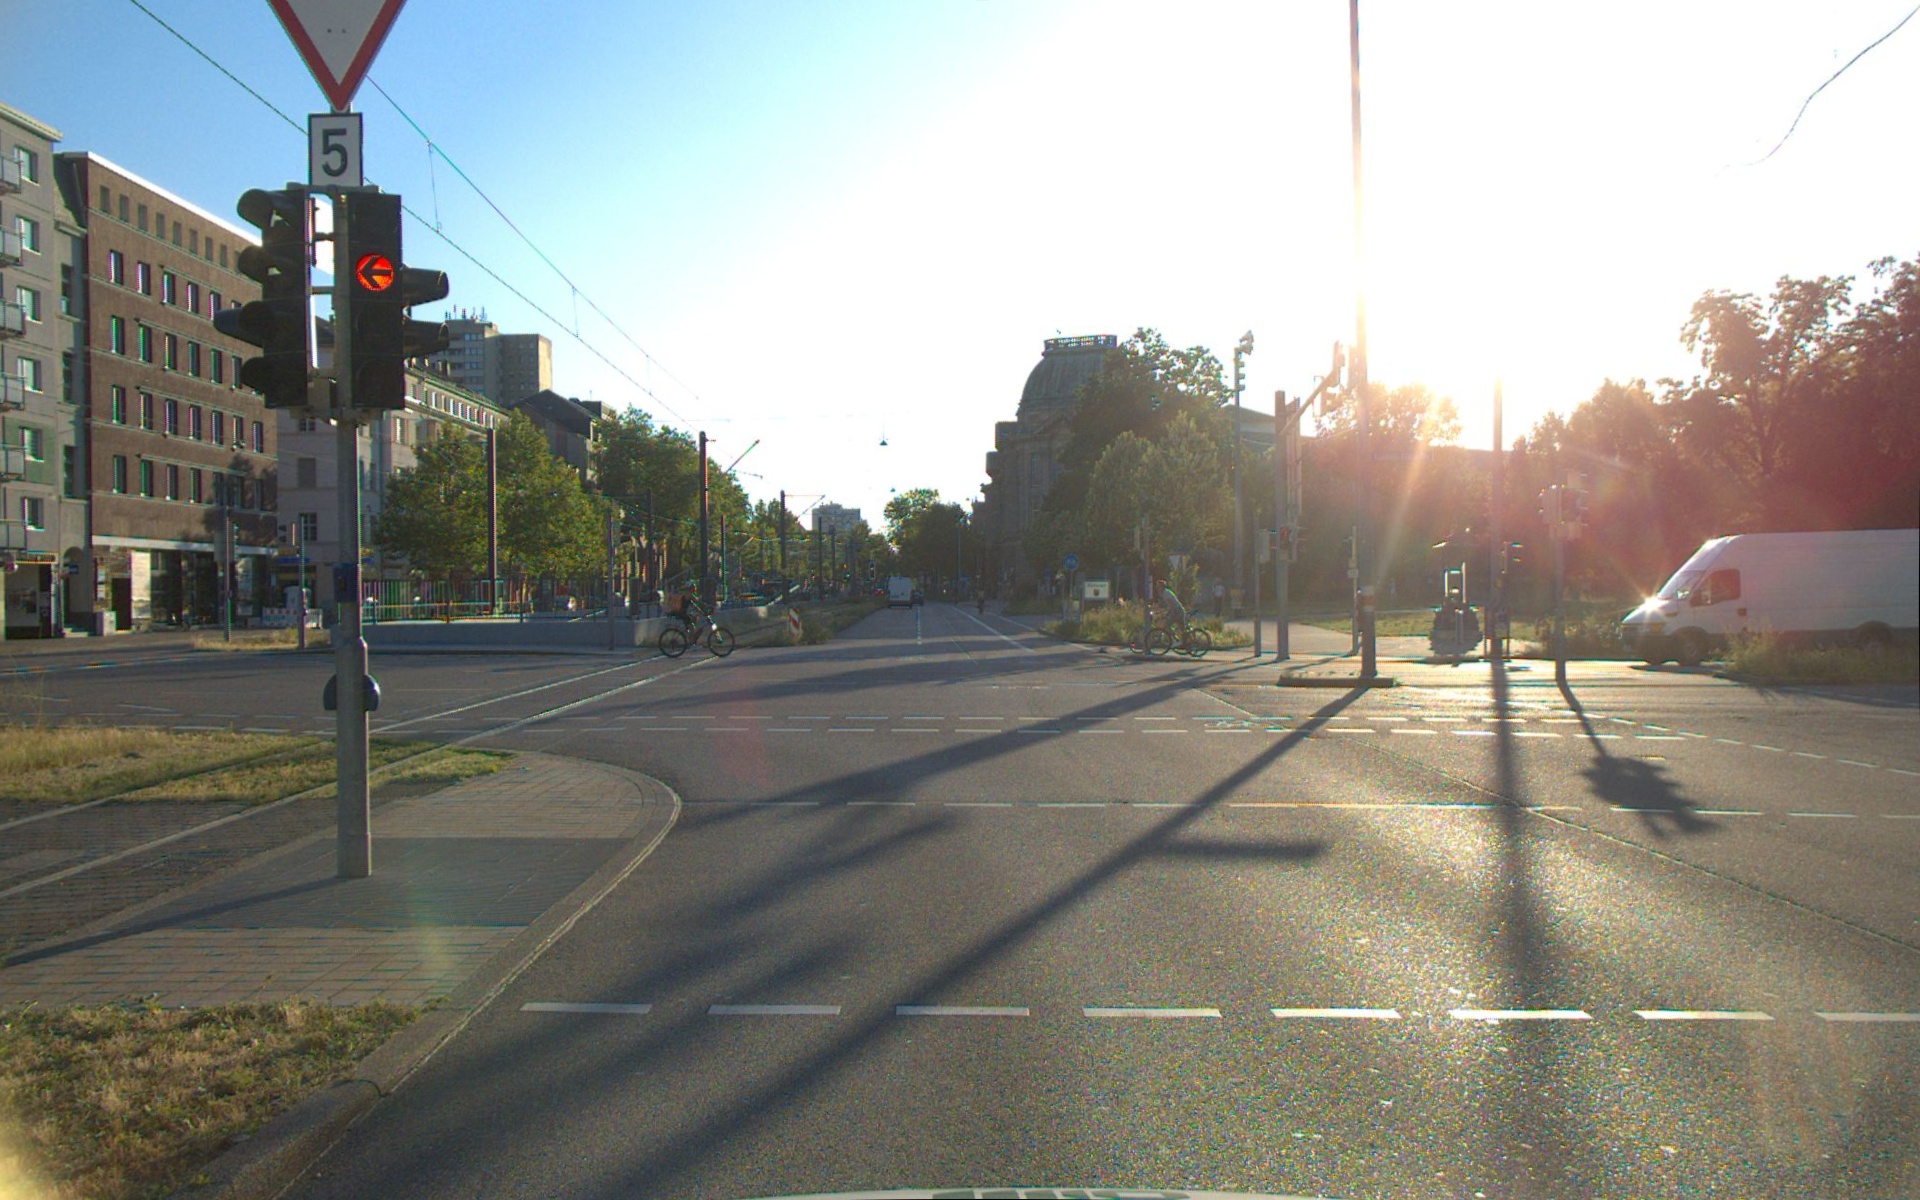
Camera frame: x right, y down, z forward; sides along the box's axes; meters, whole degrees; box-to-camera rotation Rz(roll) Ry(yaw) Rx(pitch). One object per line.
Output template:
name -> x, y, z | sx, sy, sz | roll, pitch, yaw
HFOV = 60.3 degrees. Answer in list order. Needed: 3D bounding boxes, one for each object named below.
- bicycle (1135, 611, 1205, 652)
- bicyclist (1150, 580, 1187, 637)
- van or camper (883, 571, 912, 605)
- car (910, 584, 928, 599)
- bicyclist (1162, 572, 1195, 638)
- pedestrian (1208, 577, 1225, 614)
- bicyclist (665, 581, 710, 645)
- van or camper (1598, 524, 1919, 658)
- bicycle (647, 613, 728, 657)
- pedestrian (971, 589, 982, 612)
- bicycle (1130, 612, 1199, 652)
bicycle -> 5.222, 0.784, 41.092 | 1.691, 0.987, 0.610 | 0, 1, 8
bicyclist -> 5.433, 0.216, 43.083 | 0.836, 1.467, 0.663 | -1, 1, -4
van or camper -> -5.184, -1.011, 136.949 | 2.217, 2.670, 4.503 | -1, 2, -1
car -> -4.068, -0.873, 163.936 | 1.702, 1.410, 4.000 | -1, 2, -1
bicyclist -> 5.431, 0.117, 41.047 | 0.780, 1.598, 0.664 | -1, 1, 9
pedestrian -> 11.519, -0.191, 74.260 | 0.668, 1.639, 0.612 | -1, 1, -1
bicyclist -> -6.388, 0.301, 38.715 | 0.845, 1.467, 0.656 | 0, 1, -32
van or camper -> 17.829, -0.238, 36.005 | 6.898, 2.721, 2.599 | -1, 2, 1
bicycle -> -6.374, 0.815, 38.731 | 1.712, 0.987, 0.696 | 1, 2, -33
pedestrian -> 1.070, 0.020, 107.586 | 0.603, 1.501, 0.800 | -1, 1, 3
bicycle -> 5.323, 0.832, 43.094 | 1.684, 0.987, 0.609 | 0, 1, -5
